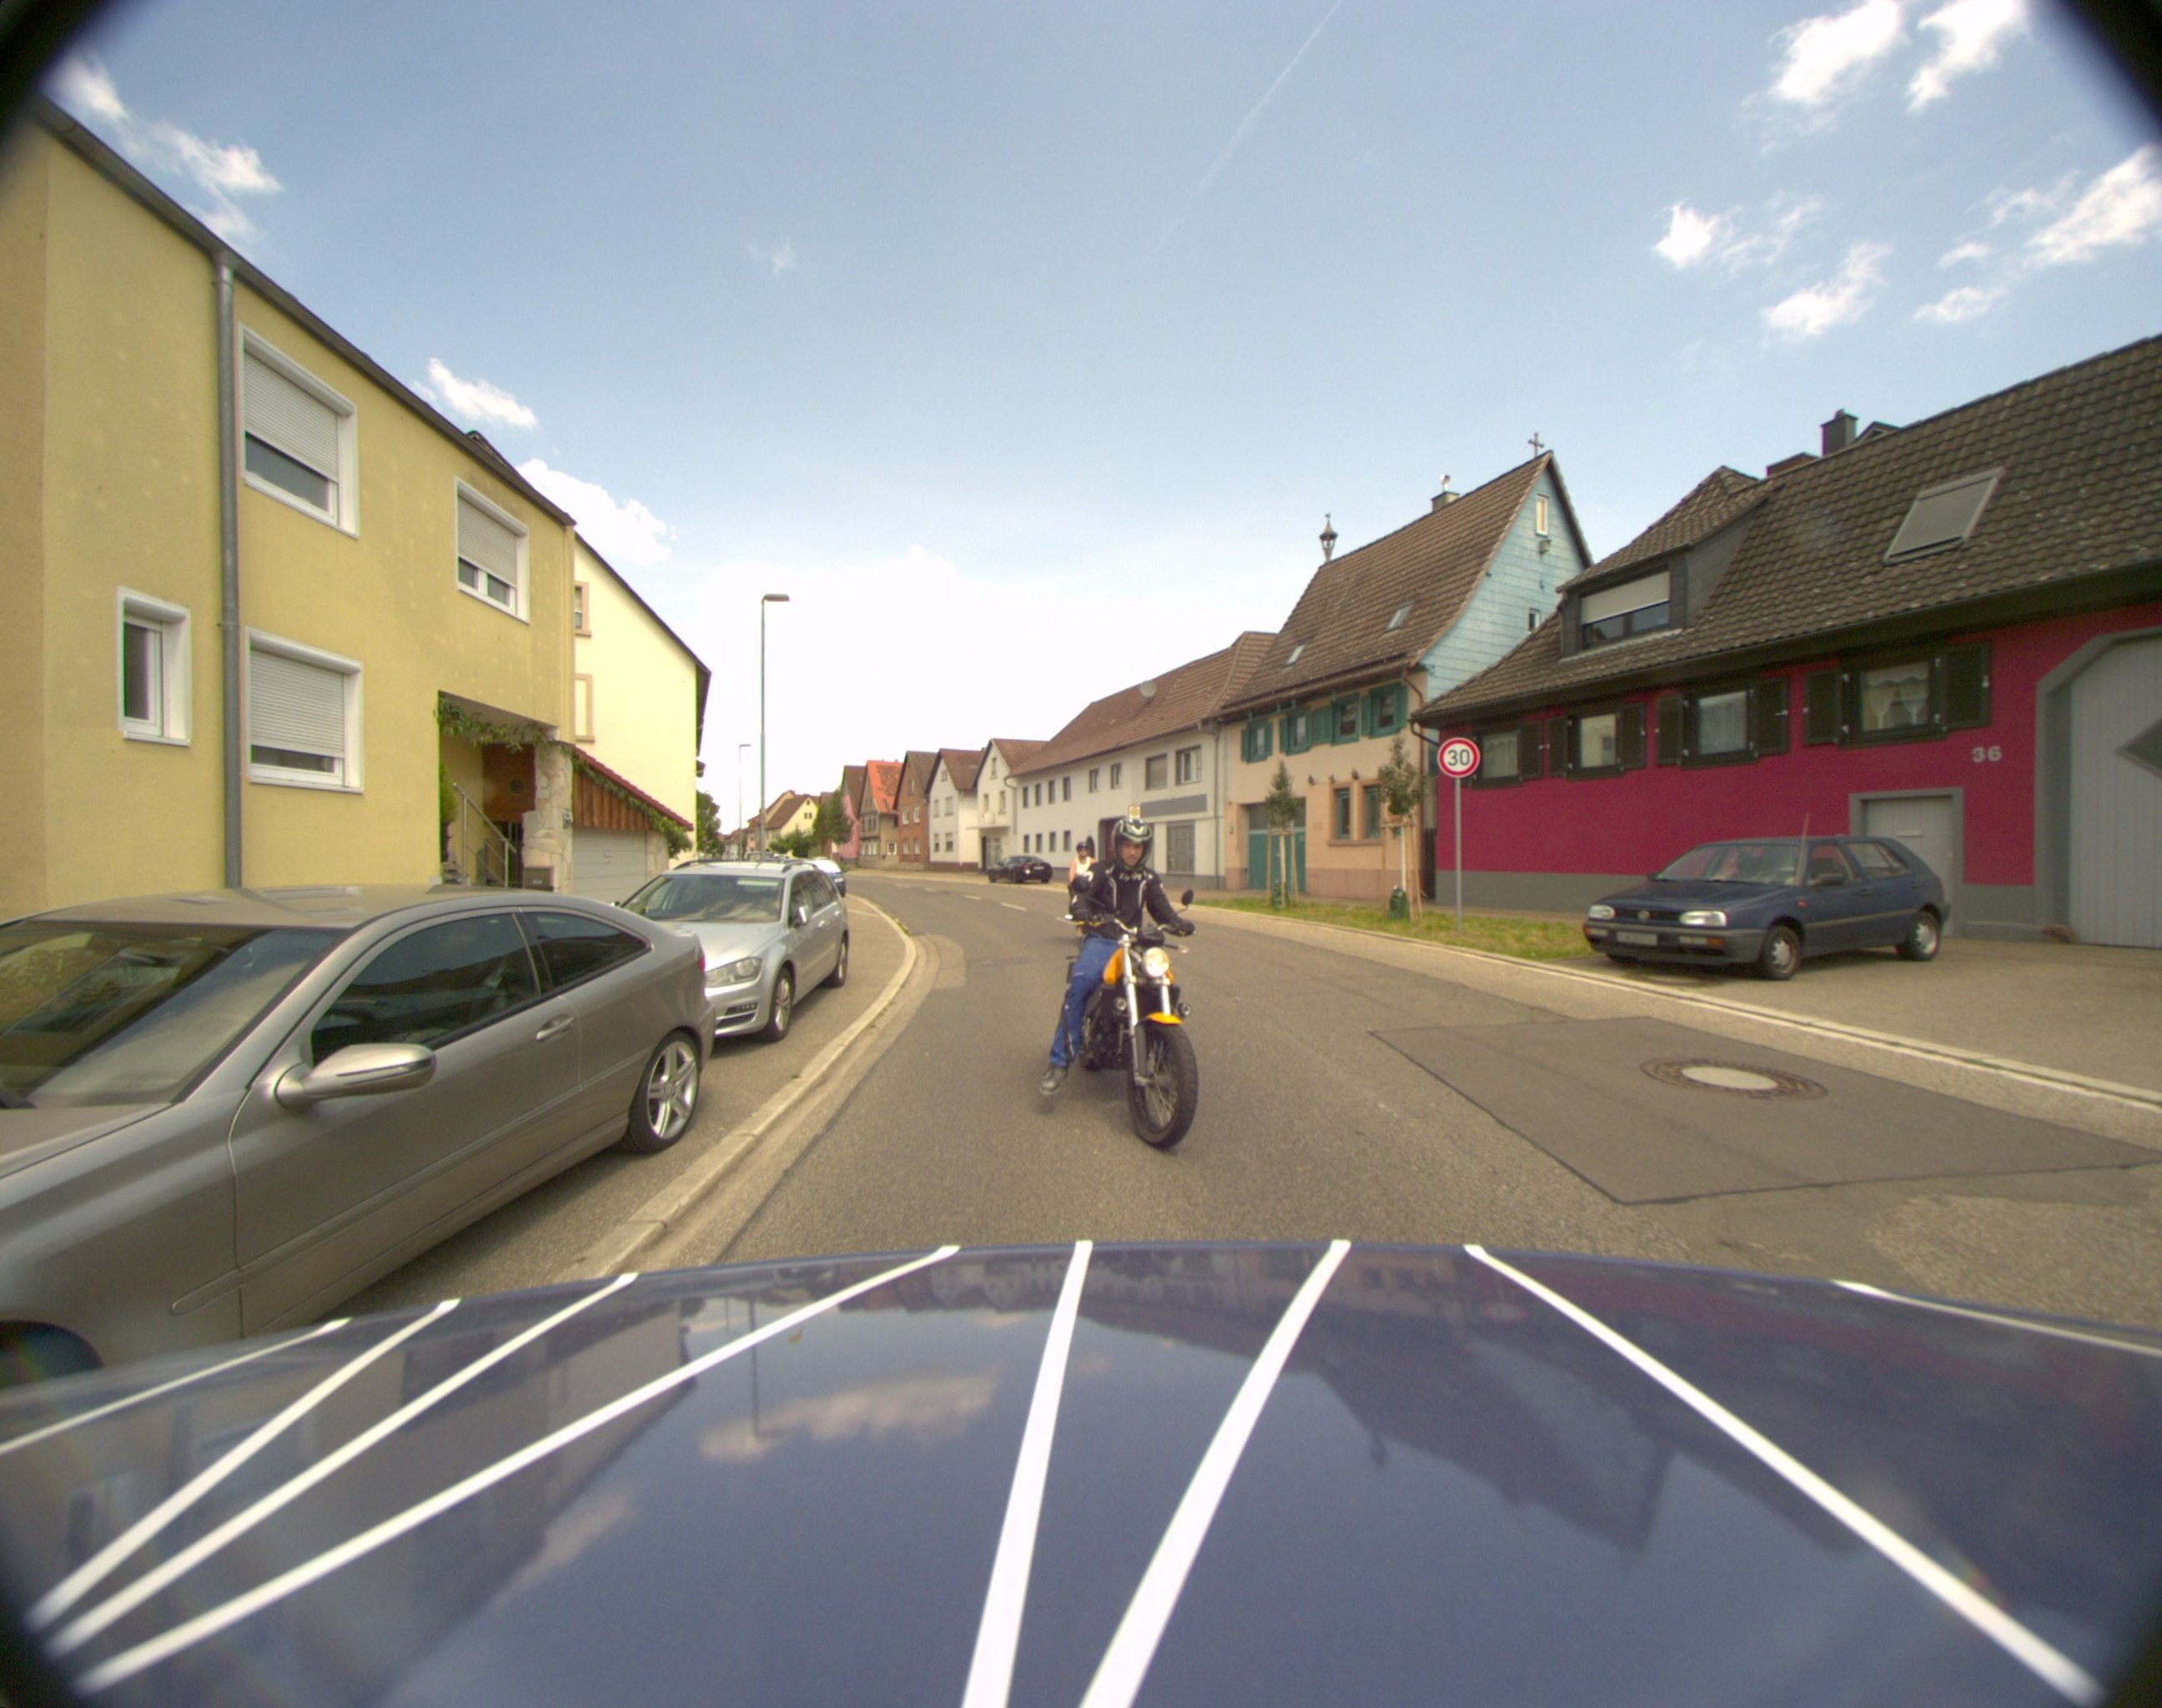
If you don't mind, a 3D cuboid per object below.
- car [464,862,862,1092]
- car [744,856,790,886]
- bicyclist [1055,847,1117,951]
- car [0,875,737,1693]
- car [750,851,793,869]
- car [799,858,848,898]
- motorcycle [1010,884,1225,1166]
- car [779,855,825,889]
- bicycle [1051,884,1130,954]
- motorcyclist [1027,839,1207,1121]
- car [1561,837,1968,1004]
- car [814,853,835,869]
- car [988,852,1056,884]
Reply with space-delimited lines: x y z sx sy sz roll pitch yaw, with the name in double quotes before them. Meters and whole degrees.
"car" -3.550 0.910 7.532 1.890 1.521 4.333 2 0 -6
"car" -19.098 0.988 46.069 1.669 1.638 3.989 -3 1 -35
"bicyclist" 0.071 0.747 12.998 0.910 1.679 0.760 -2 2 -10
"car" -2.998 0.907 2.424 1.774 1.392 4.423 2 1 0
"car" -32.577 0.591 79.885 4.921 1.790 2.004 0 3 39
"car" -10.259 0.907 30.249 1.730 1.378 3.992 0 1 -19
"motorcycle" 0.193 0.876 4.740 0.985 1.234 2.103 -3 1 1
"car" -13.780 0.907 37.472 1.776 1.520 3.993 -1 -1 -25
"bicycle" 0.111 1.056 12.835 0.934 1.005 1.923 -2 0 -11
"motorcyclist" 0.214 0.720 4.740 1.000 1.591 0.799 -1 2 1
"car" 7.629 0.598 8.514 3.983 1.456 1.718 -2 1 -20
"car" -27.338 0.698 80.939 1.687 1.521 3.491 -2 2 -26
"car" -3.012 0.675 37.858 1.812 1.412 4.541 -2 0 -26
